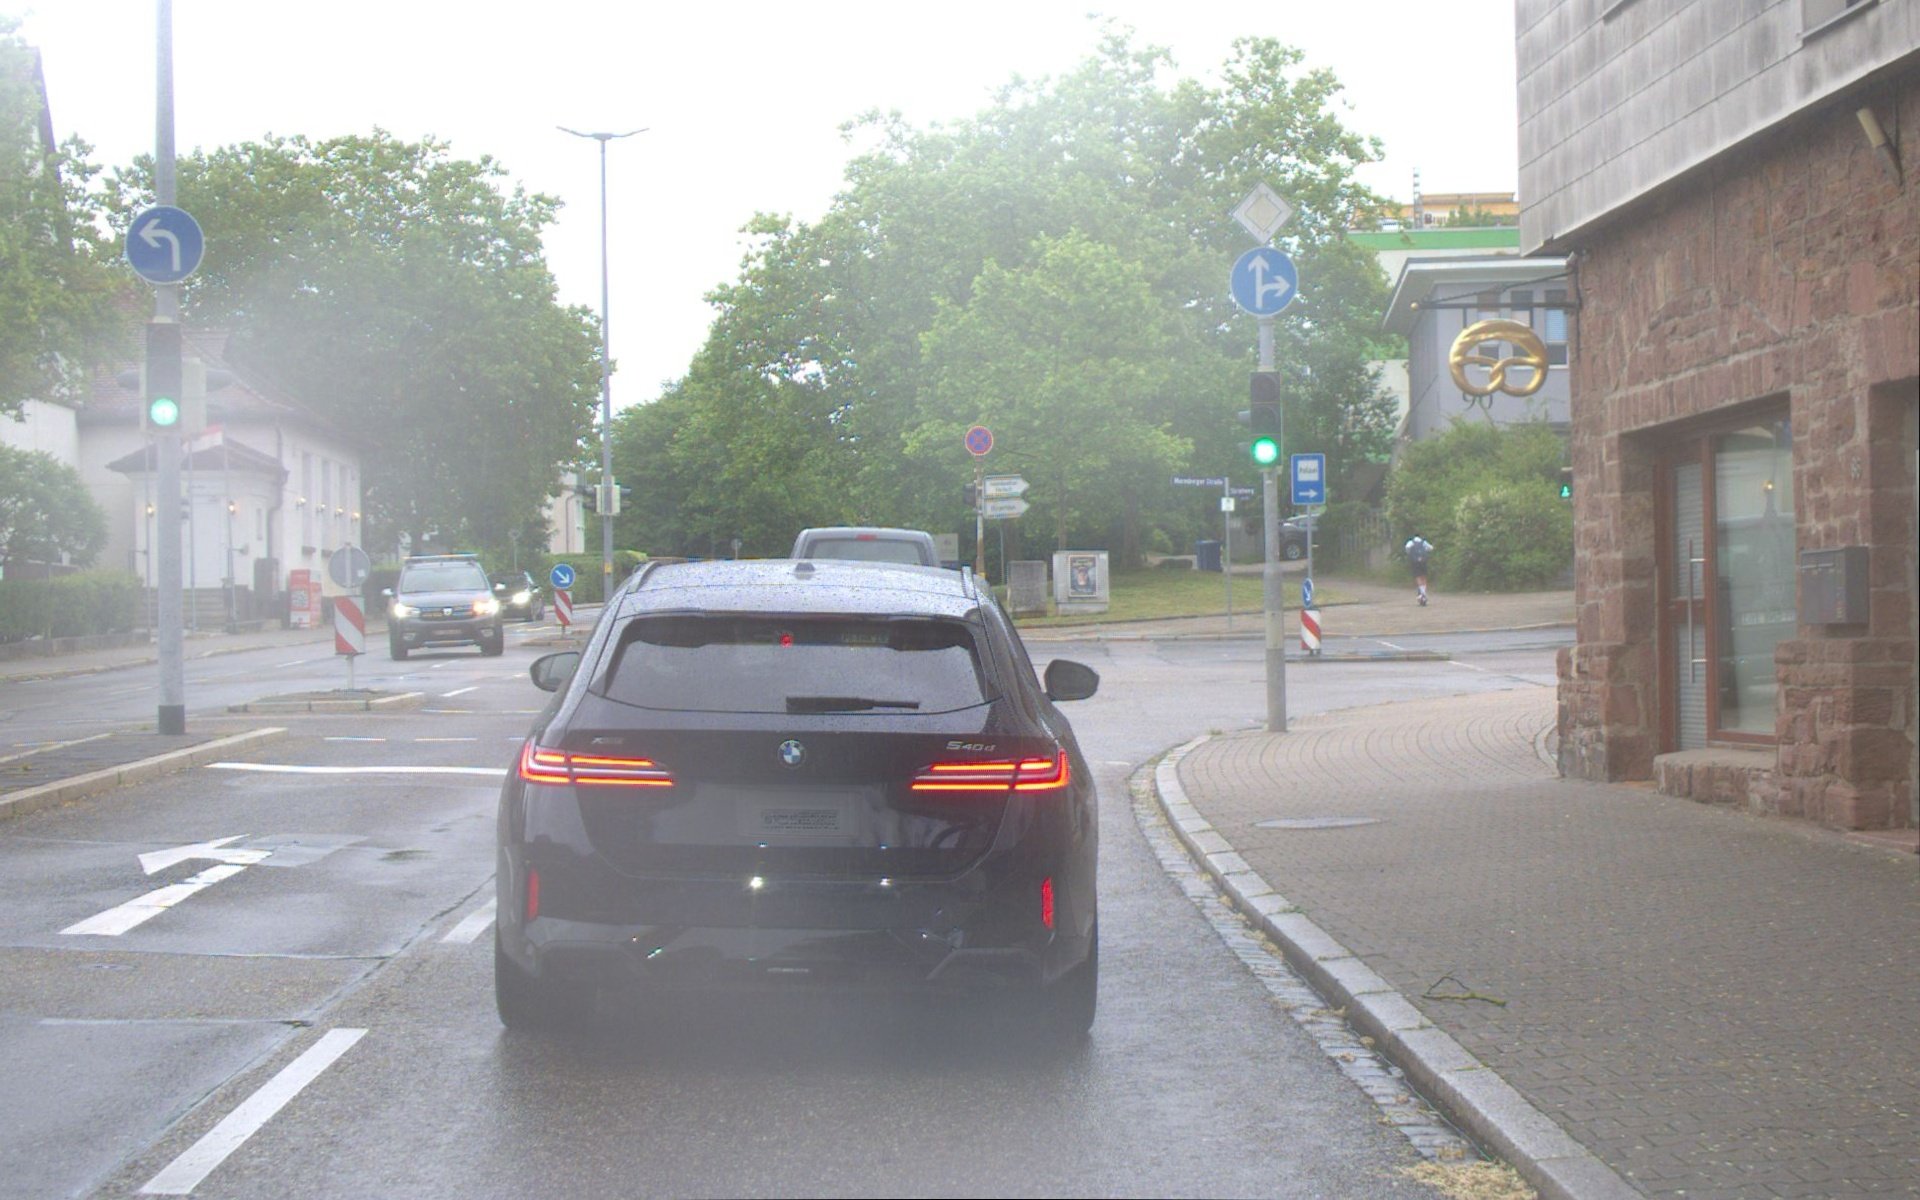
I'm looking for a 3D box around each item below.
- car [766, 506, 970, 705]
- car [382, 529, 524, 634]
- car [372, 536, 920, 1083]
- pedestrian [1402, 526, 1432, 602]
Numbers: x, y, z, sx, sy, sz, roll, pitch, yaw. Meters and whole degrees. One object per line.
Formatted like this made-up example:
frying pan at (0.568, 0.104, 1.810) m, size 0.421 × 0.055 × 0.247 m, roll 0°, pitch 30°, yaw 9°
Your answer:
car at (-0.948, 0.047, 33.542) m, size 1.812 × 1.802 × 3.757 m, roll 1°, pitch 0°, yaw -4°
car at (-8.150, -0.337, 55.588) m, size 1.898 × 1.572 × 4.503 m, roll -1°, pitch 1°, yaw -4°
car at (-1.002, 0.590, 11.506) m, size 1.523 × 1.529 × 3.532 m, roll 1°, pitch 0°, yaw -4°
pedestrian at (9.749, -0.770, 73.393) m, size 0.600 × 1.611 × 0.525 m, roll 1°, pitch 0°, yaw 6°
